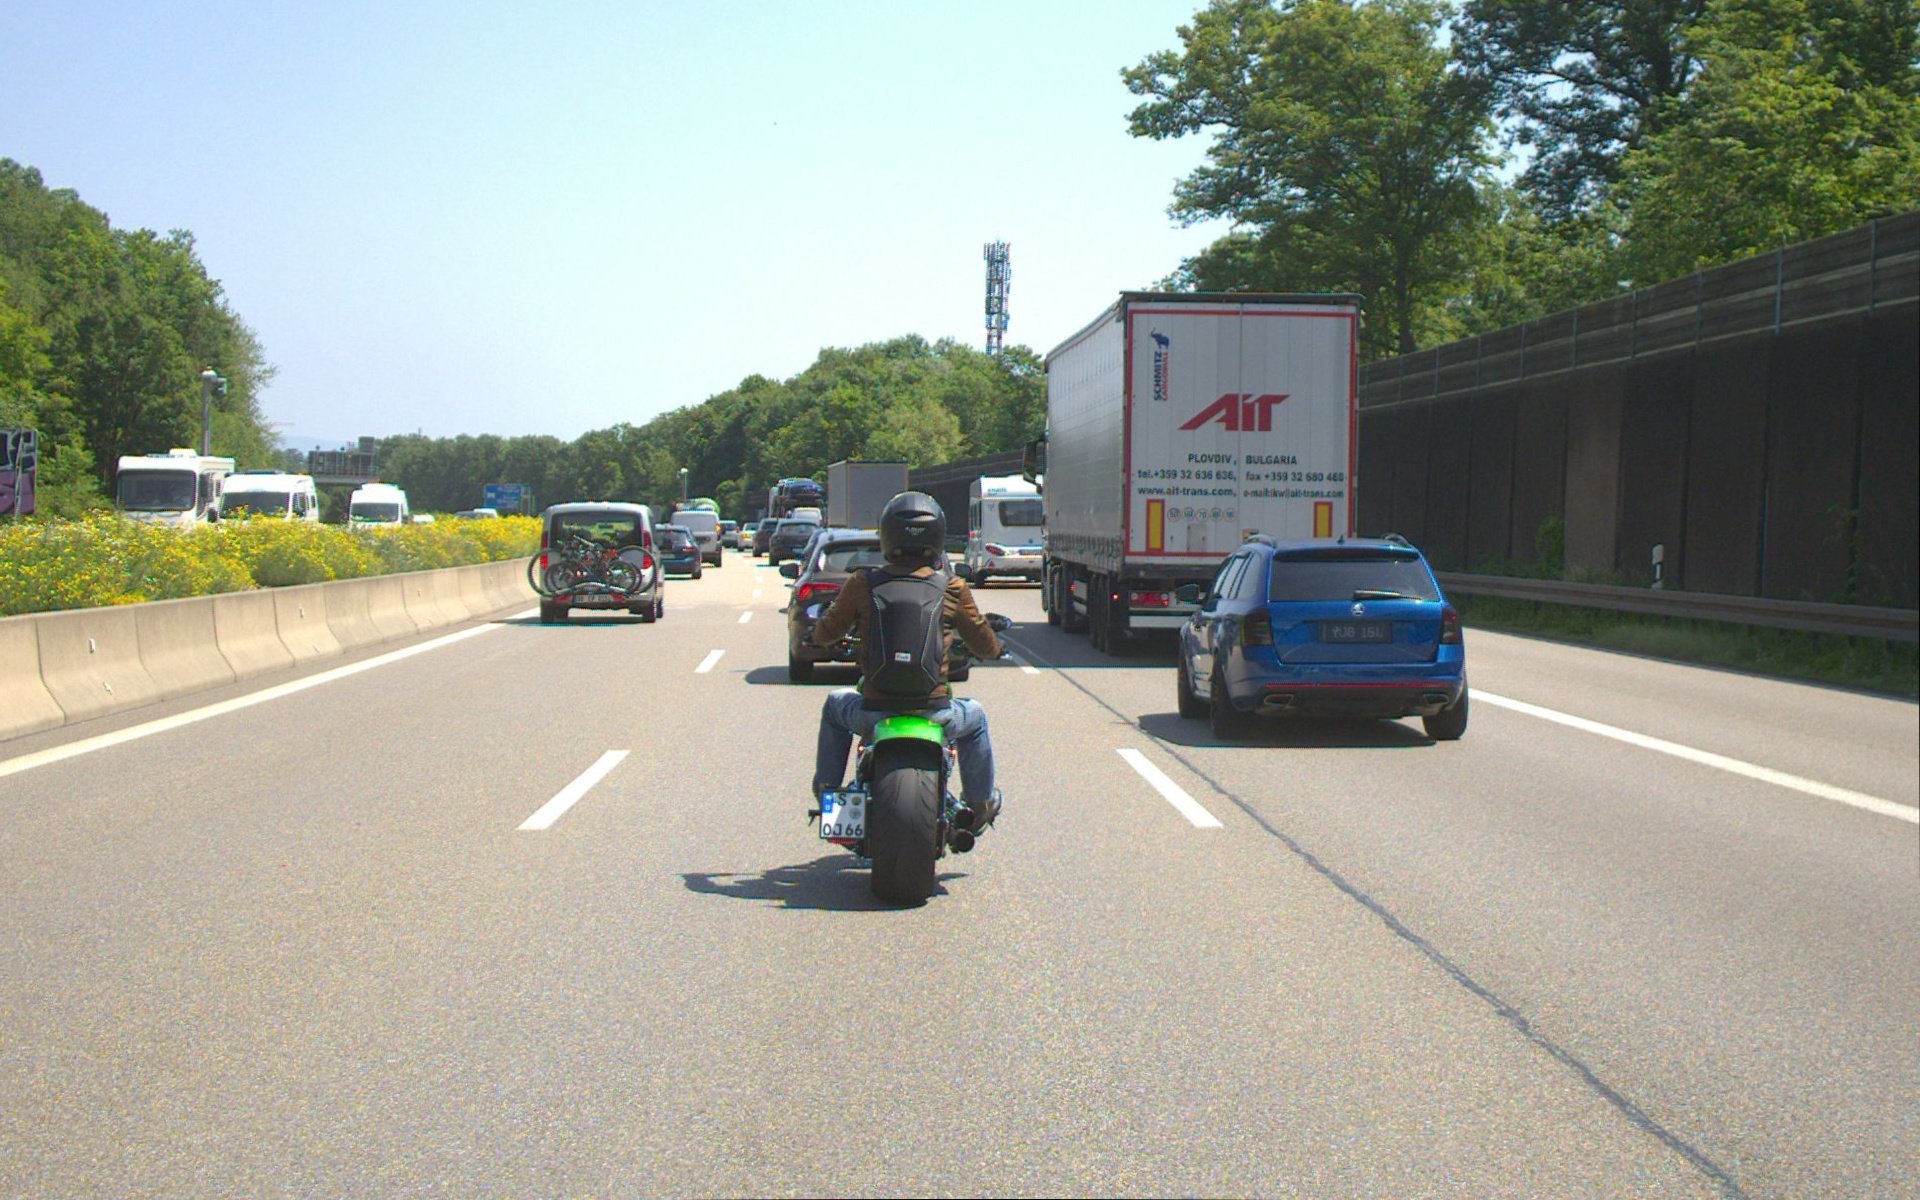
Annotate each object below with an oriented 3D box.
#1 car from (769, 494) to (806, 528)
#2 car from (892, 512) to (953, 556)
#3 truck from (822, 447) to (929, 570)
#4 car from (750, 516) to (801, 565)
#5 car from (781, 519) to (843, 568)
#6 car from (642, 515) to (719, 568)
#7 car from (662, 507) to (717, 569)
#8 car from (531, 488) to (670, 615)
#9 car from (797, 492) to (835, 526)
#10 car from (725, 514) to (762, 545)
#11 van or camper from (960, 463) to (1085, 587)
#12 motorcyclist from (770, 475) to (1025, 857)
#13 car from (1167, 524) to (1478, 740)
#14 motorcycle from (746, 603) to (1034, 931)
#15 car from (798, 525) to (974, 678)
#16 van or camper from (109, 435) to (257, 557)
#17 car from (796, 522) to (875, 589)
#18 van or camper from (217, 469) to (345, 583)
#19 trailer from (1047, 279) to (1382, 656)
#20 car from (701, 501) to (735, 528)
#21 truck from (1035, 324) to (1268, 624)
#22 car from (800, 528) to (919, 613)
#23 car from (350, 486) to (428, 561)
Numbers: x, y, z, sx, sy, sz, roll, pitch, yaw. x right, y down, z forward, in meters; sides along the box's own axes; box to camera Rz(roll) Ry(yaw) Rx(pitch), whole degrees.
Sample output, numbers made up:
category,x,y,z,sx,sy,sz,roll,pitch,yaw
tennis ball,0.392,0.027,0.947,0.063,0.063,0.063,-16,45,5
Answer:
category,x,y,z,sx,sy,sz,roll,pitch,yaw
car,-10.093,-5.209,201.306,2.107,1.870,4.000,0,0,-3
car,-1.406,-2.423,127.426,1.993,1.568,4.001,0,0,-4
truck,-3.621,-3.778,144.684,3.802,4.943,8.952,0,0,-6
car,-7.889,-2.521,146.839,1.911,2.007,3.691,0,0,-7
car,-5.083,-1.932,117.954,1.993,1.634,4.001,0,0,-4
car,-7.474,-1.553,92.194,1.993,1.382,4.001,0,0,-4
car,-9.065,-2.066,115.280,1.791,2.007,3.643,0,0,-5
car,-5.507,-0.723,53.028,1.899,1.867,4.413,0,0,-3
car,-8.199,-5.181,195.784,2.107,1.870,4.000,0,0,-3
car,-10.937,-3.538,173.534,1.832,1.491,3.744,0,0,-3
van or camper,1.413,-1.704,81.401,2.685,2.803,6.803,0,0,-1
motorcyclist,-0.225,0.250,14.191,0.900,1.470,1.872,0,0,4
car,2.625,0.208,25.867,1.650,1.477,4.482,0,0,-3
motorcycle,-0.234,0.626,14.288,0.964,1.144,2.811,1,1,3
car,-0.793,0.006,34.490,1.662,1.448,3.869,0,0,-3
van or camper,-22.447,-2.941,99.751,2.539,3.306,9.003,0,0,-2
car,-2.954,-1.081,82.293,1.779,1.546,3.585,1,1,-1
van or camper,-17.862,-1.958,90.720,2.257,2.889,6.557,0,1,-2
trailer,2.903,-1.567,43.757,2.885,4.024,13.796,0,1,-1
car,-14.179,-5.005,201.484,1.832,1.491,3.744,0,0,-2
truck,2.718,-1.811,50.601,2.885,4.132,5.986,0,1,-2
car,-1.743,-0.501,59.779,1.993,1.425,3.847,0,0,-1
car,-21.428,-2.888,129.139,2.200,2.732,5.748,0,1,-2
